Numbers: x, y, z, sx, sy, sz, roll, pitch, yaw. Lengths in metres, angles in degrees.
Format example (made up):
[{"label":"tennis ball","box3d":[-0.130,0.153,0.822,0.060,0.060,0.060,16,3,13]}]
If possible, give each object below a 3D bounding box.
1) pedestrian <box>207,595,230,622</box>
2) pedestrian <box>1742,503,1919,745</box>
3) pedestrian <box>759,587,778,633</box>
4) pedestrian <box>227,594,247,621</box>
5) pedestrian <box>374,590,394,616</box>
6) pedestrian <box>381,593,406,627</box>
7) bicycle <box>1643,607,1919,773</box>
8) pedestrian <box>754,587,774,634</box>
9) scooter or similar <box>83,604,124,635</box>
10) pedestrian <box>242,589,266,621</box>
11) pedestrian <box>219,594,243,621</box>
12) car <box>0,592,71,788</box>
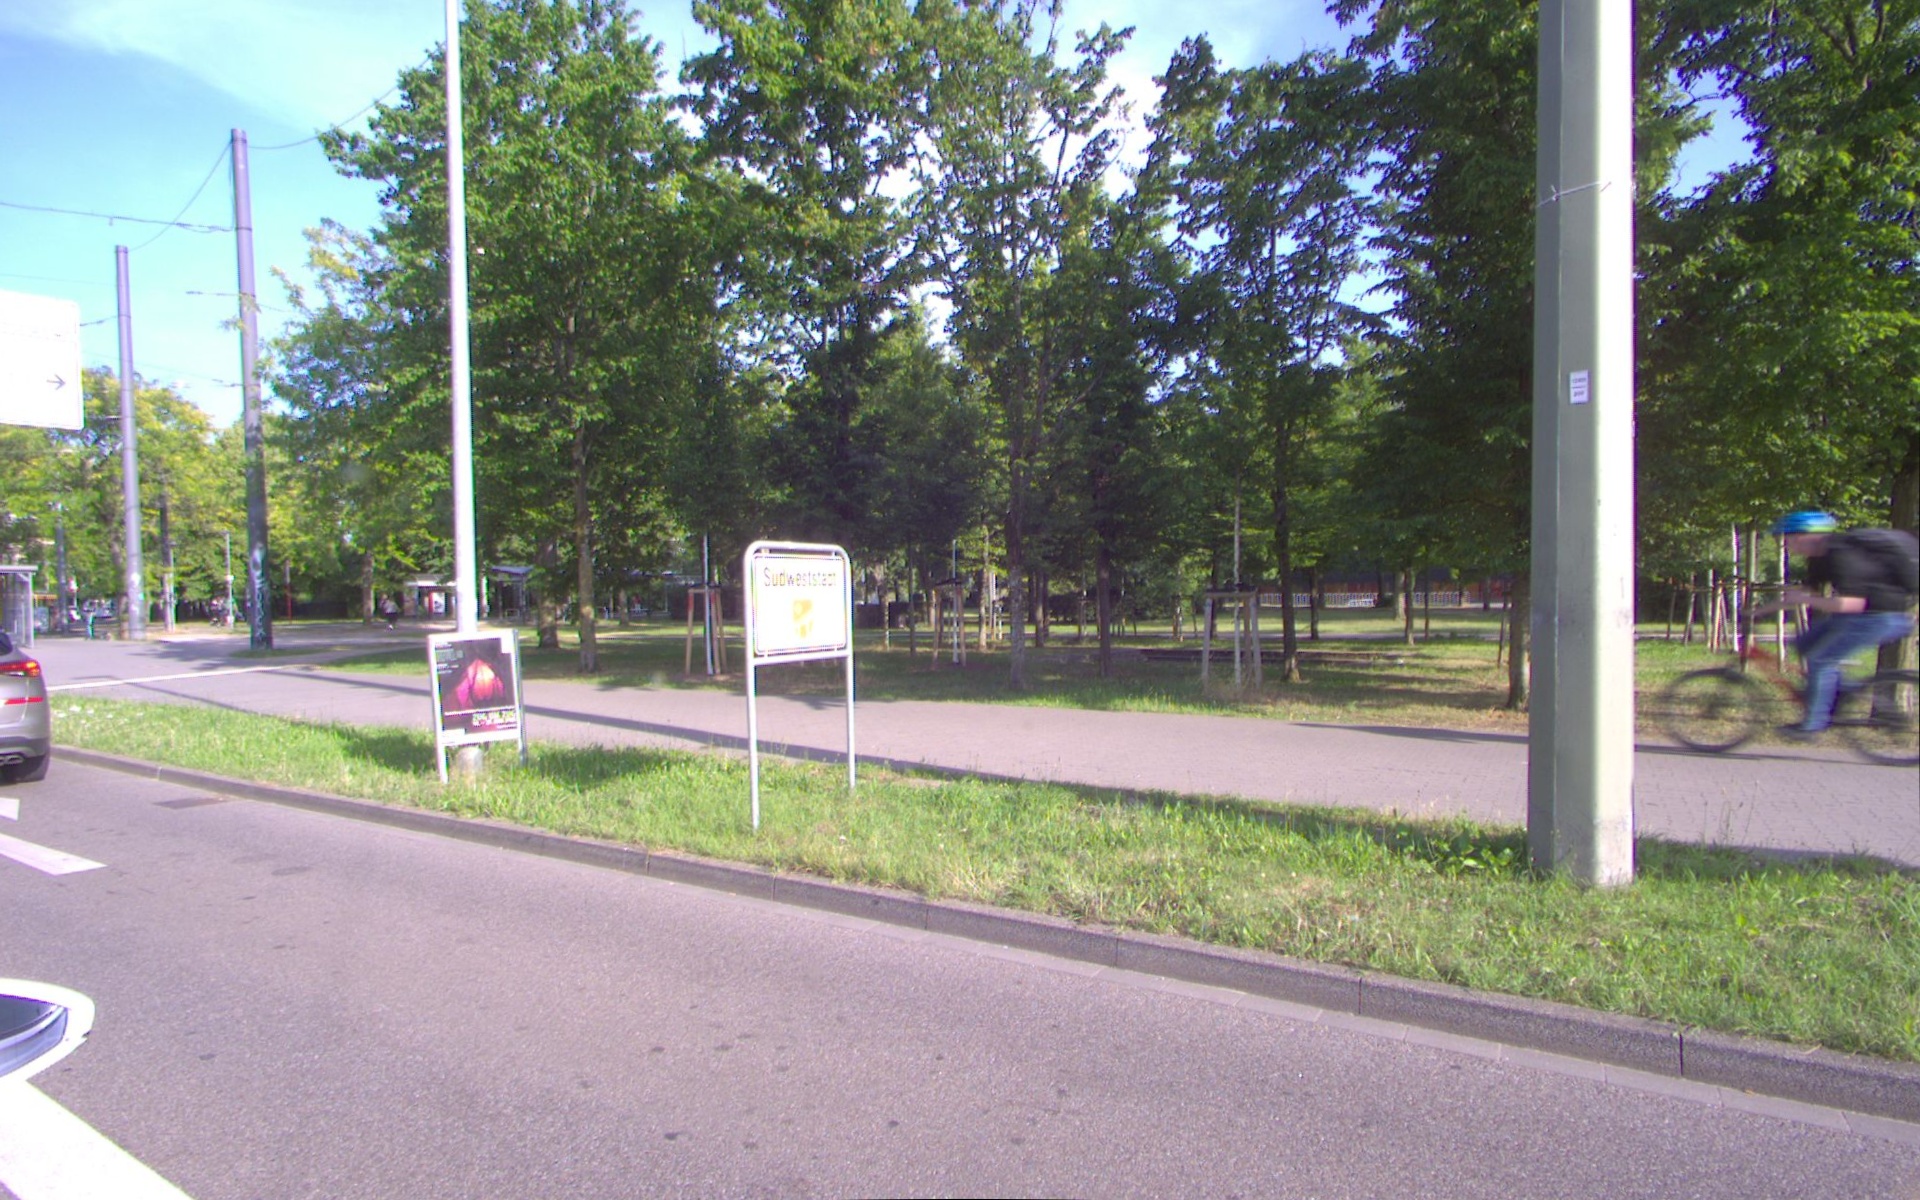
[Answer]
[{"label":"pedestrian","box3d":[-41.041,0.460,55.421,0.687,1.508,0.815,-1,1,-9]},{"label":"pedestrian","box3d":[6.017,0.171,6.899,0.629,1.540,0.839,0,-1,-35]},{"label":"pedestrian","box3d":[-7.619,0.399,39.932,0.617,1.836,0.502,-1,1,3]},{"label":"pedestrian","box3d":[-40.001,0.406,55.403,0.804,1.508,0.696,-2,1,-33]},{"label":"pedestrian","box3d":[-36.680,0.203,63.803,0.792,1.659,0.832,0,1,38]},{"label":"pedestrian","box3d":[-27.768,0.499,49.085,0.793,1.659,0.754,-1,1,-7]},{"label":"bicycle","box3d":[6.066,0.594,7.065,0.644,1.059,1.968,1,-2,-34]},{"label":"pedestrian","box3d":[-7.679,0.408,39.246,0.617,1.836,0.502,-1,1,6]},{"label":"scooter or similar","box3d":[-31.467,0.725,36.773,1.305,1.132,0.420,-1,1,13]},{"label":"pedestrian","box3d":[-40.261,0.293,57.134,0.826,1.809,0.798,0,1,28]},{"label":"pedestrian","box3d":[-41.105,0.415,56.448,0.688,1.508,0.813,0,1,22]},{"label":"car","box3d":[-9.987,0.799,9.122,3.595,1.673,1.880,-1,1,32]}]
